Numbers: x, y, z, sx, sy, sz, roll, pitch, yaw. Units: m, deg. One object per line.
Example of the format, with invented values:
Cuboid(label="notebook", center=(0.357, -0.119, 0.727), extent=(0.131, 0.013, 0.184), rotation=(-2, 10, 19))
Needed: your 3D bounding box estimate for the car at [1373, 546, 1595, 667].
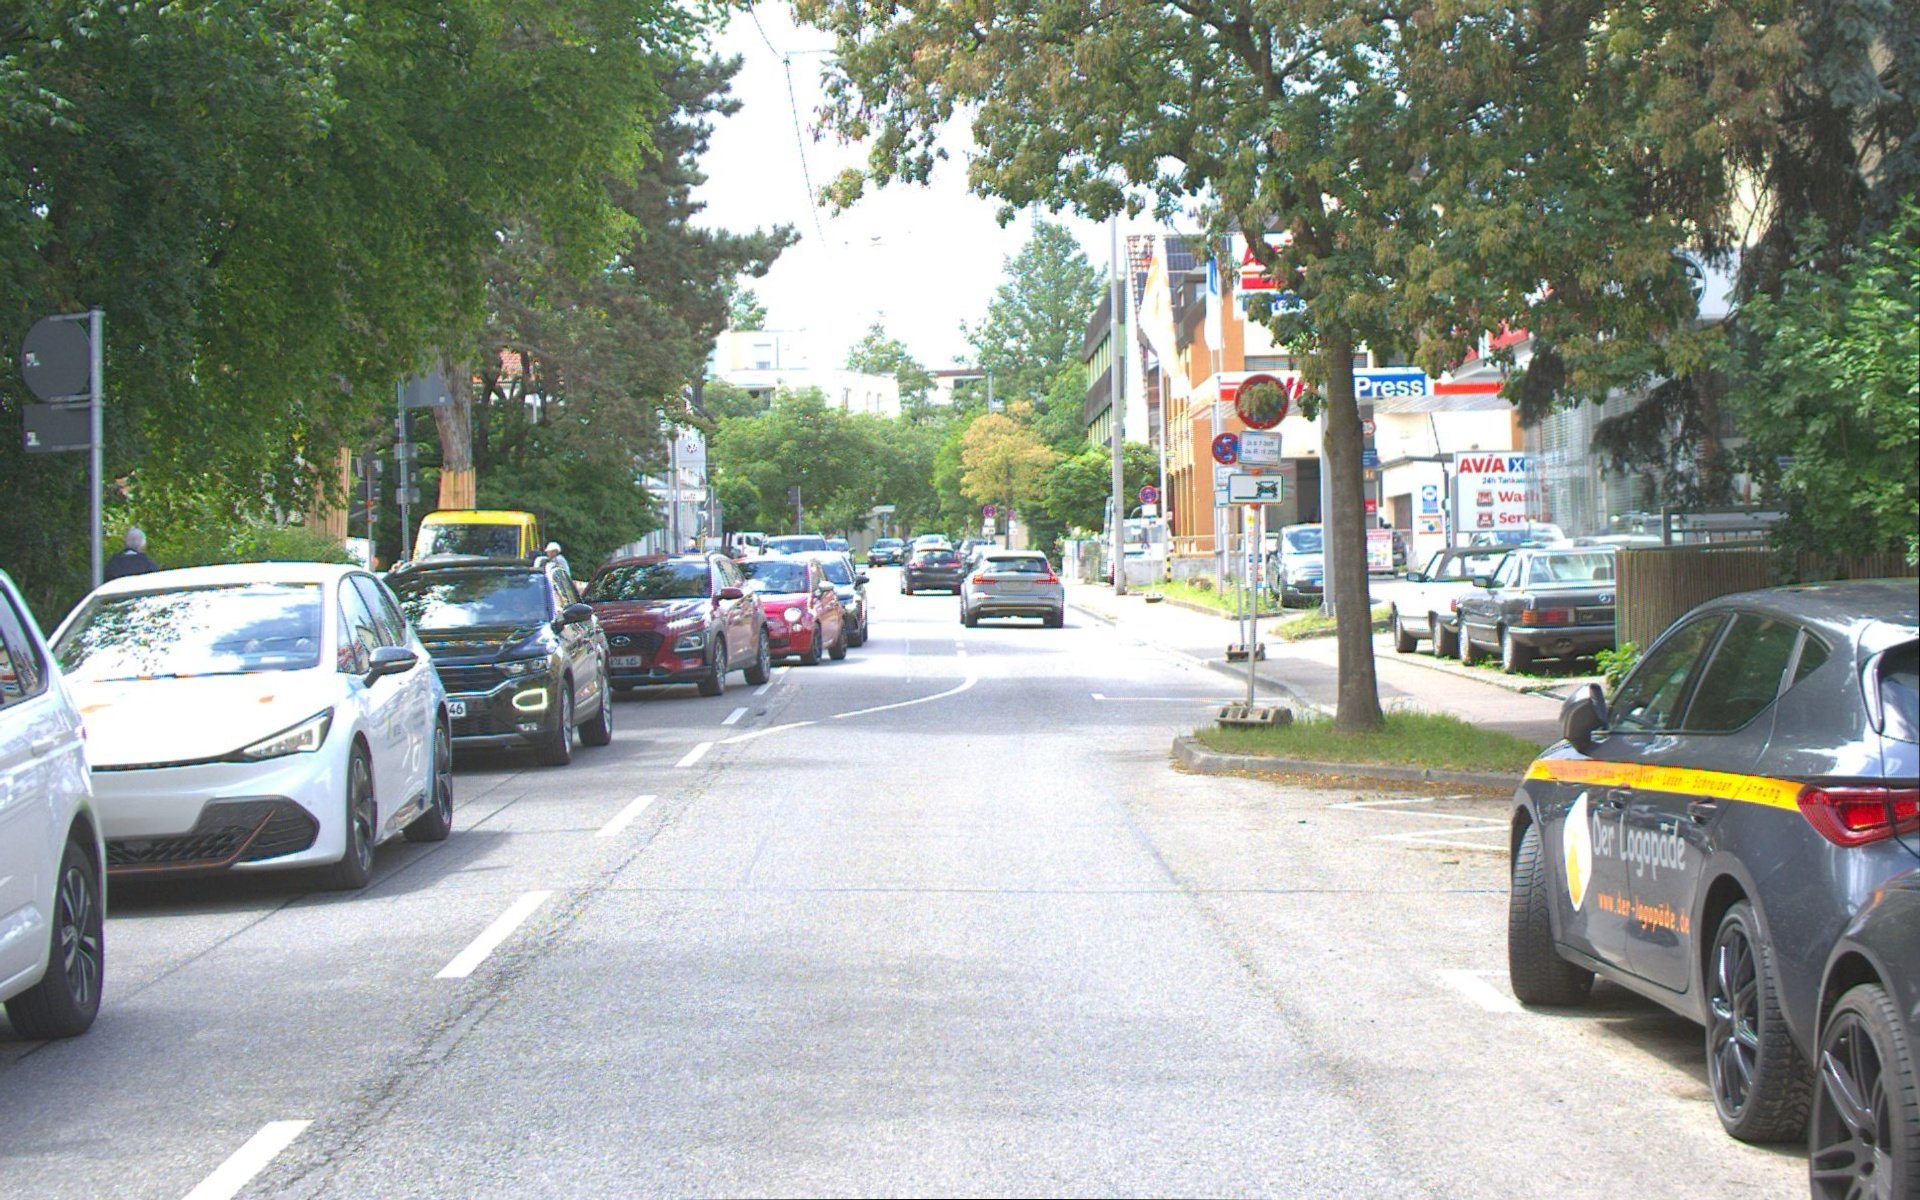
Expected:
Cuboid(label="car", center=(6.255, 0.044, 41.498), extent=(1.722, 1.359, 4.485), rotation=(-1, 1, -4))

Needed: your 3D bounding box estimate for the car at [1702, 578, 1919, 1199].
Cuboid(label="car", center=(2.621, 0.725, 5.096), extent=(1.801, 1.440, 4.887), rotation=(2, 1, -2))

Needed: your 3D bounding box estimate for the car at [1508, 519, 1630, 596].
Cuboid(label="car", center=(14.093, -0.969, 79.731), extent=(1.783, 1.629, 3.693), rotation=(-4, 1, -5))

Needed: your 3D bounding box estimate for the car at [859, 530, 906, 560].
Cuboid(label="car", center=(-3.912, -2.768, 174.319), extent=(2.111, 1.495, 4.267), rotation=(-1, 1, 2))

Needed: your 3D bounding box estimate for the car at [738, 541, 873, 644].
Cuboid(label="car", center=(-2.436, -0.107, 55.038), extent=(1.929, 1.572, 4.296), rotation=(0, 0, 0))

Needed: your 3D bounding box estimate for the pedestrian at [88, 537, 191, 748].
Cuboid(label="pedestrian", center=(-6.940, 0.353, 29.119), extent=(0.714, 1.756, 1.122), rotation=(0, 0, -6))

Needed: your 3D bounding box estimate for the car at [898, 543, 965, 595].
Cuboid(label="car", center=(-0.869, -0.922, 101.596), extent=(1.816, 1.495, 4.267), rotation=(1, 1, -3))

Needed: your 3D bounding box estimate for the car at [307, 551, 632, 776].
Cuboid(label="car", center=(-3.683, 0.422, 26.525), extent=(1.789, 1.536, 4.263), rotation=(-2, 1, 1))

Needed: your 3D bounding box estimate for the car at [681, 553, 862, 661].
Cuboid(label="car", center=(-2.540, 0.098, 46.936), extent=(1.692, 1.420, 3.435), rotation=(0, 0, 11))

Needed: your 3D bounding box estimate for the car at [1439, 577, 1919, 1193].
Cuboid(label="car", center=(2.784, 0.661, 10.306), extent=(1.824, 1.412, 4.510), rotation=(1, 1, -3))

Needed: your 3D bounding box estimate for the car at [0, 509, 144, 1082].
Cuboid(label="car", center=(-3.668, 0.602, 9.387), extent=(1.786, 1.642, 4.491), rotation=(-2, 1, -1))

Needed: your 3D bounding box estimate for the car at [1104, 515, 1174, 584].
Cuboid(label="car", center=(5.450, -1.519, 105.044), extent=(1.993, 2.007, 4.000), rotation=(0, 0, 1))

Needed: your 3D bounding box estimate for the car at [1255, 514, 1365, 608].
Cuboid(label="car", center=(6.676, -0.750, 65.855), extent=(1.784, 1.629, 3.692), rotation=(-4, 1, 2))

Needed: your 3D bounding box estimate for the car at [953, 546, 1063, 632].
Cuboid(label="car", center=(0.885, -0.235, 66.124), extent=(1.976, 1.508, 4.267), rotation=(3, 1, 0))

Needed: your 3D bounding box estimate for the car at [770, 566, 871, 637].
Cuboid(label="car", center=(-2.819, 0.041, 70.141), extent=(1.959, 1.389, 4.296), rotation=(0, 0, -1))

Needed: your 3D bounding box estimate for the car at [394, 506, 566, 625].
Cuboid(label="car", center=(-8.270, -0.561, 59.670), extent=(2.146, 1.974, 4.930), rotation=(0, 0, 2))

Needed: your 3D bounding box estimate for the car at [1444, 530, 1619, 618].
Cuboid(label="car", center=(9.214, -0.428, 55.717), extent=(1.841, 1.351, 4.070), rotation=(-1, 1, -5))

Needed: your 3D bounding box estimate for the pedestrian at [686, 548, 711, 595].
Cuboid(label="pedestrian", center=(-8.131, -0.878, 106.888), extent=(0.704, 1.434, 0.713), rotation=(0, 0, 3))

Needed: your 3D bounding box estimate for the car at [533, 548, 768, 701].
Cuboid(label="car", center=(-3.347, 0.227, 37.937), extent=(1.762, 1.528, 4.095), rotation=(-2, 1, 6))

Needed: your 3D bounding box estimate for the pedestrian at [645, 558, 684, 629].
Cuboid(label="pedestrian", center=(-6.010, -0.122, 69.967), extent=(0.704, 1.434, 0.714), rotation=(0, 0, -12))

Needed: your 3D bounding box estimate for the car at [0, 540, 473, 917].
Cuboid(label="car", center=(-3.614, 0.539, 17.067), extent=(1.785, 1.586, 4.154), rotation=(-2, 1, -1))

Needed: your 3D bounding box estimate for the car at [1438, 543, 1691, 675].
Cuboid(label="car", center=(6.333, 0.059, 36.447), extent=(1.724, 1.312, 4.267), rotation=(0, 1, -3))
